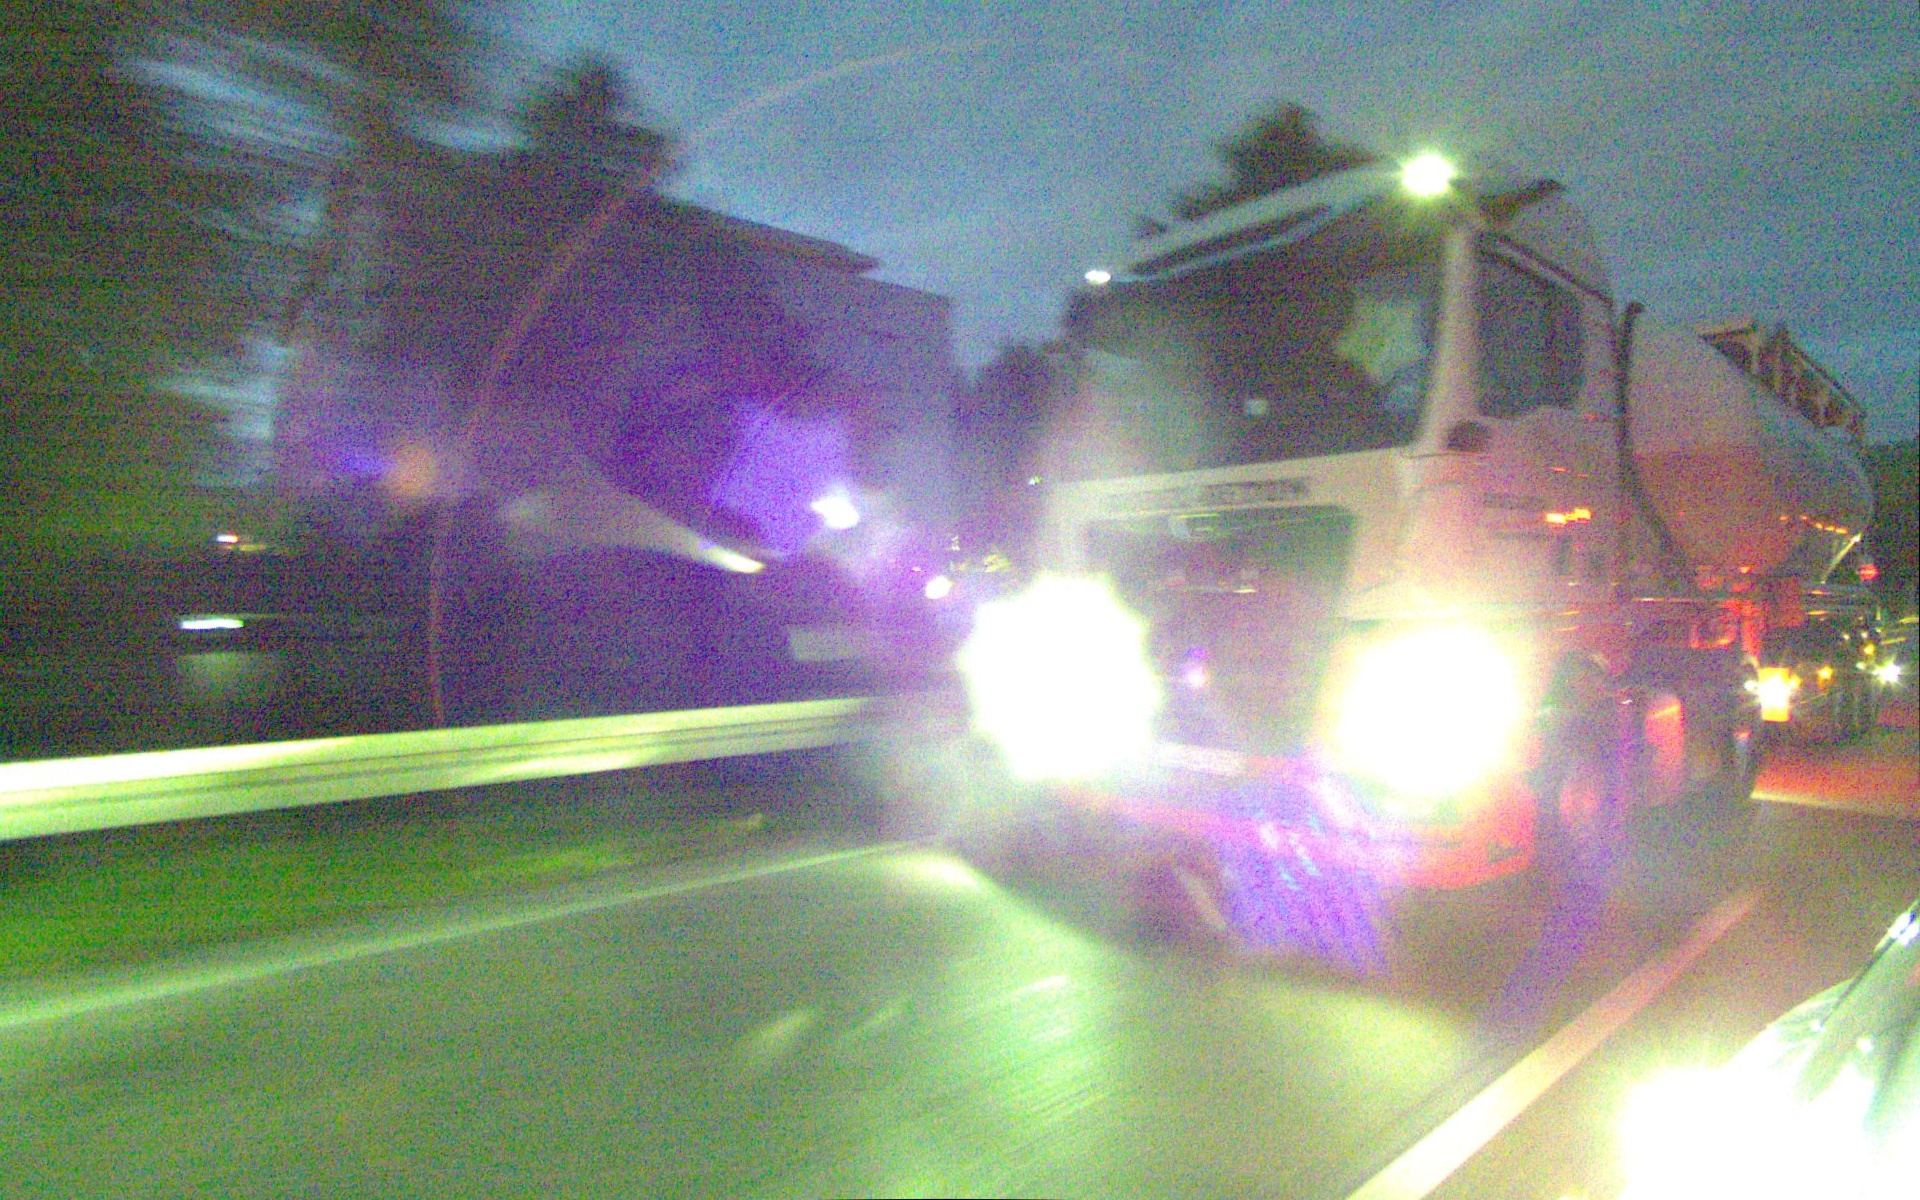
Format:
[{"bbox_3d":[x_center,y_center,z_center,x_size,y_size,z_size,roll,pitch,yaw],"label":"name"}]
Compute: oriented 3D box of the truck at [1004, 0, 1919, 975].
[{"bbox_3d":[6.006,-0.683,9.050,12.910,4.158,2.692,0,0,-41],"label":"truck"}]
